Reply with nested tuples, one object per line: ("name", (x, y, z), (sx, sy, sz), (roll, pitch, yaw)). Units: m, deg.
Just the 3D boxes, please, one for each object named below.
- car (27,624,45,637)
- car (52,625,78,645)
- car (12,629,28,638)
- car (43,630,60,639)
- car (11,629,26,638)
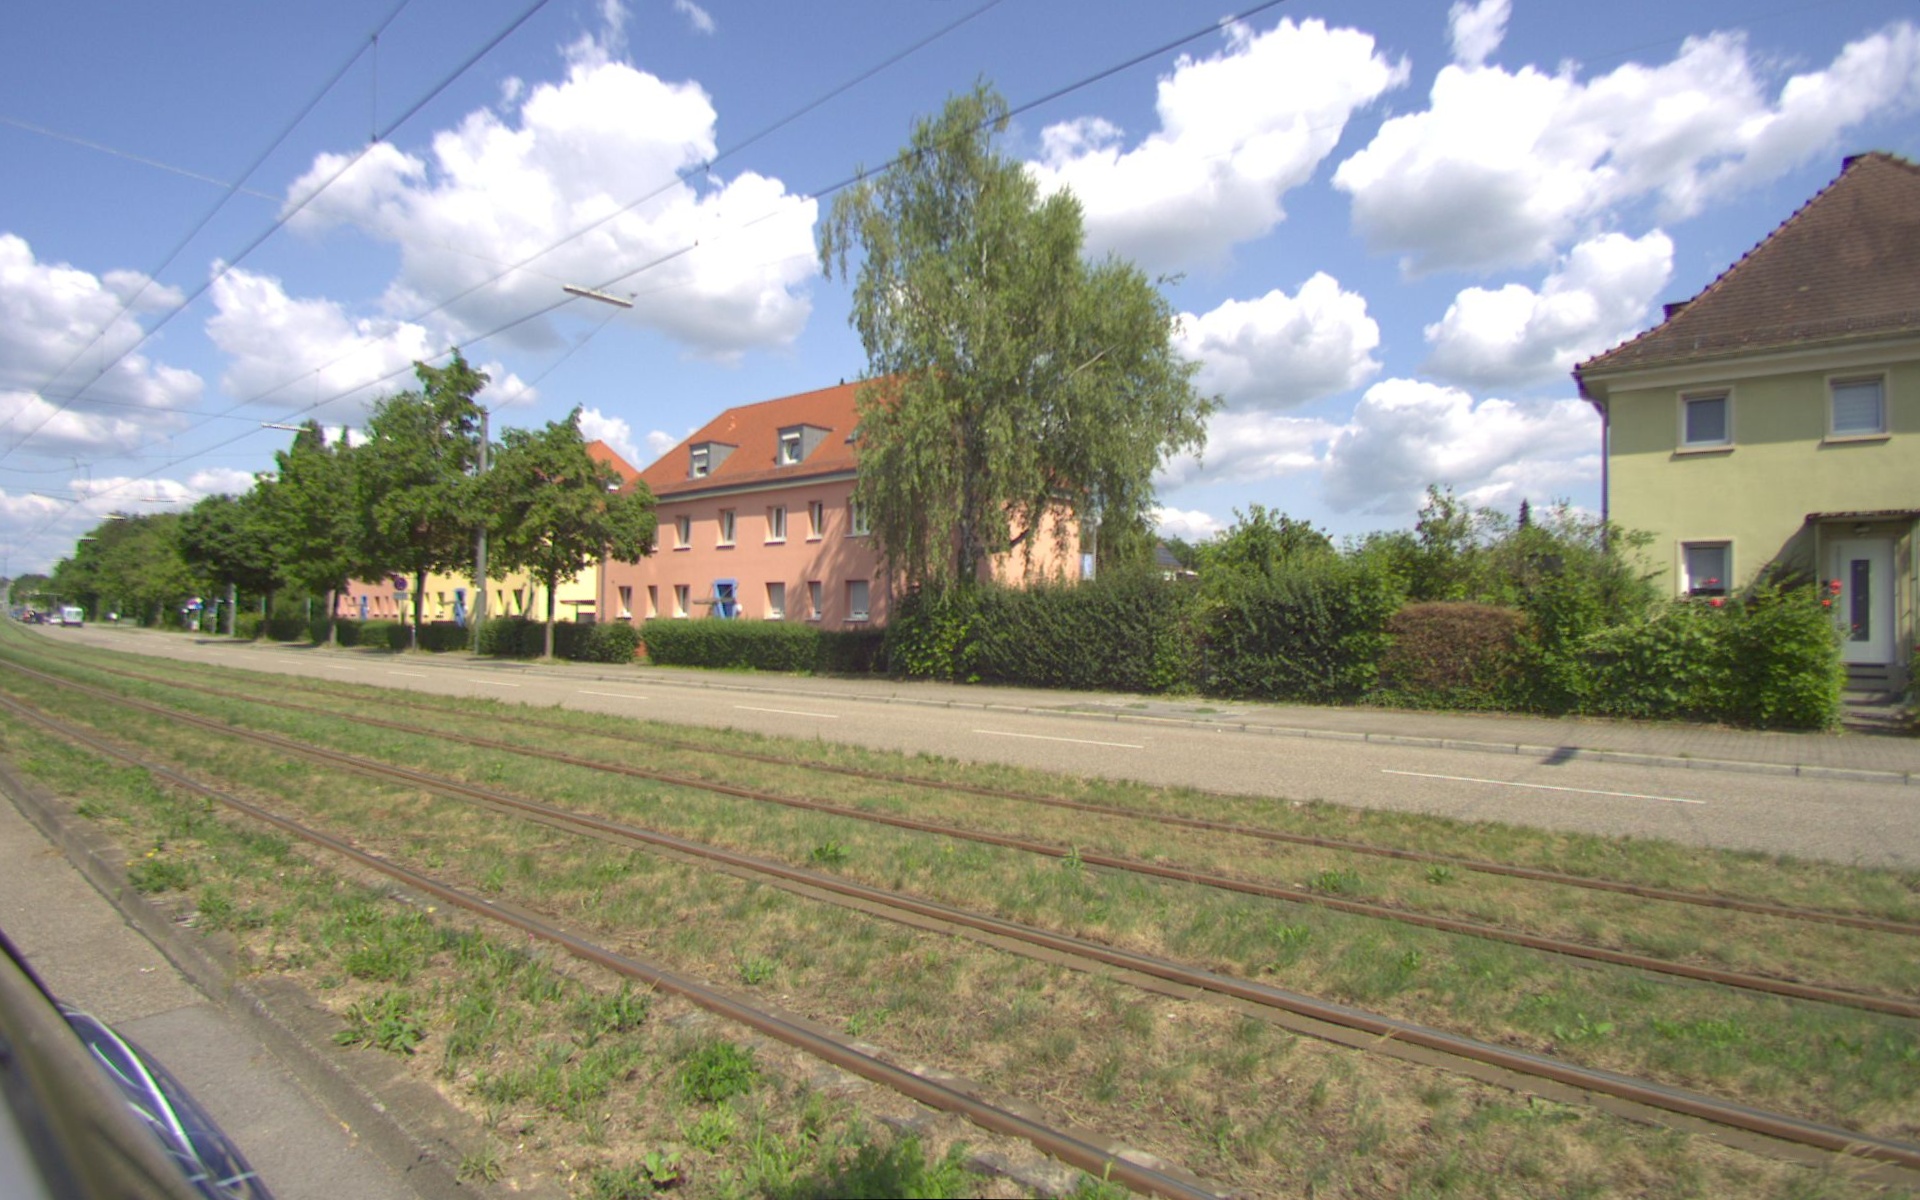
("car", (-135.055, 4.445, 147.895), (1.666, 1.760, 4.230), (2, -3, -45))
("car", (-115.255, 4.505, 130.305), (2.009, 2.455, 5.781), (4, -4, -45))
("car", (-170.341, 6.113, 183.428), (2.091, 1.664, 4.280), (2, -3, -44))
("car", (-139.334, 5.319, 155.203), (1.666, 1.442, 4.279), (2, -3, -45))
("car", (-149.799, 5.273, 160.980), (1.707, 1.405, 4.280), (2, -3, -44))
